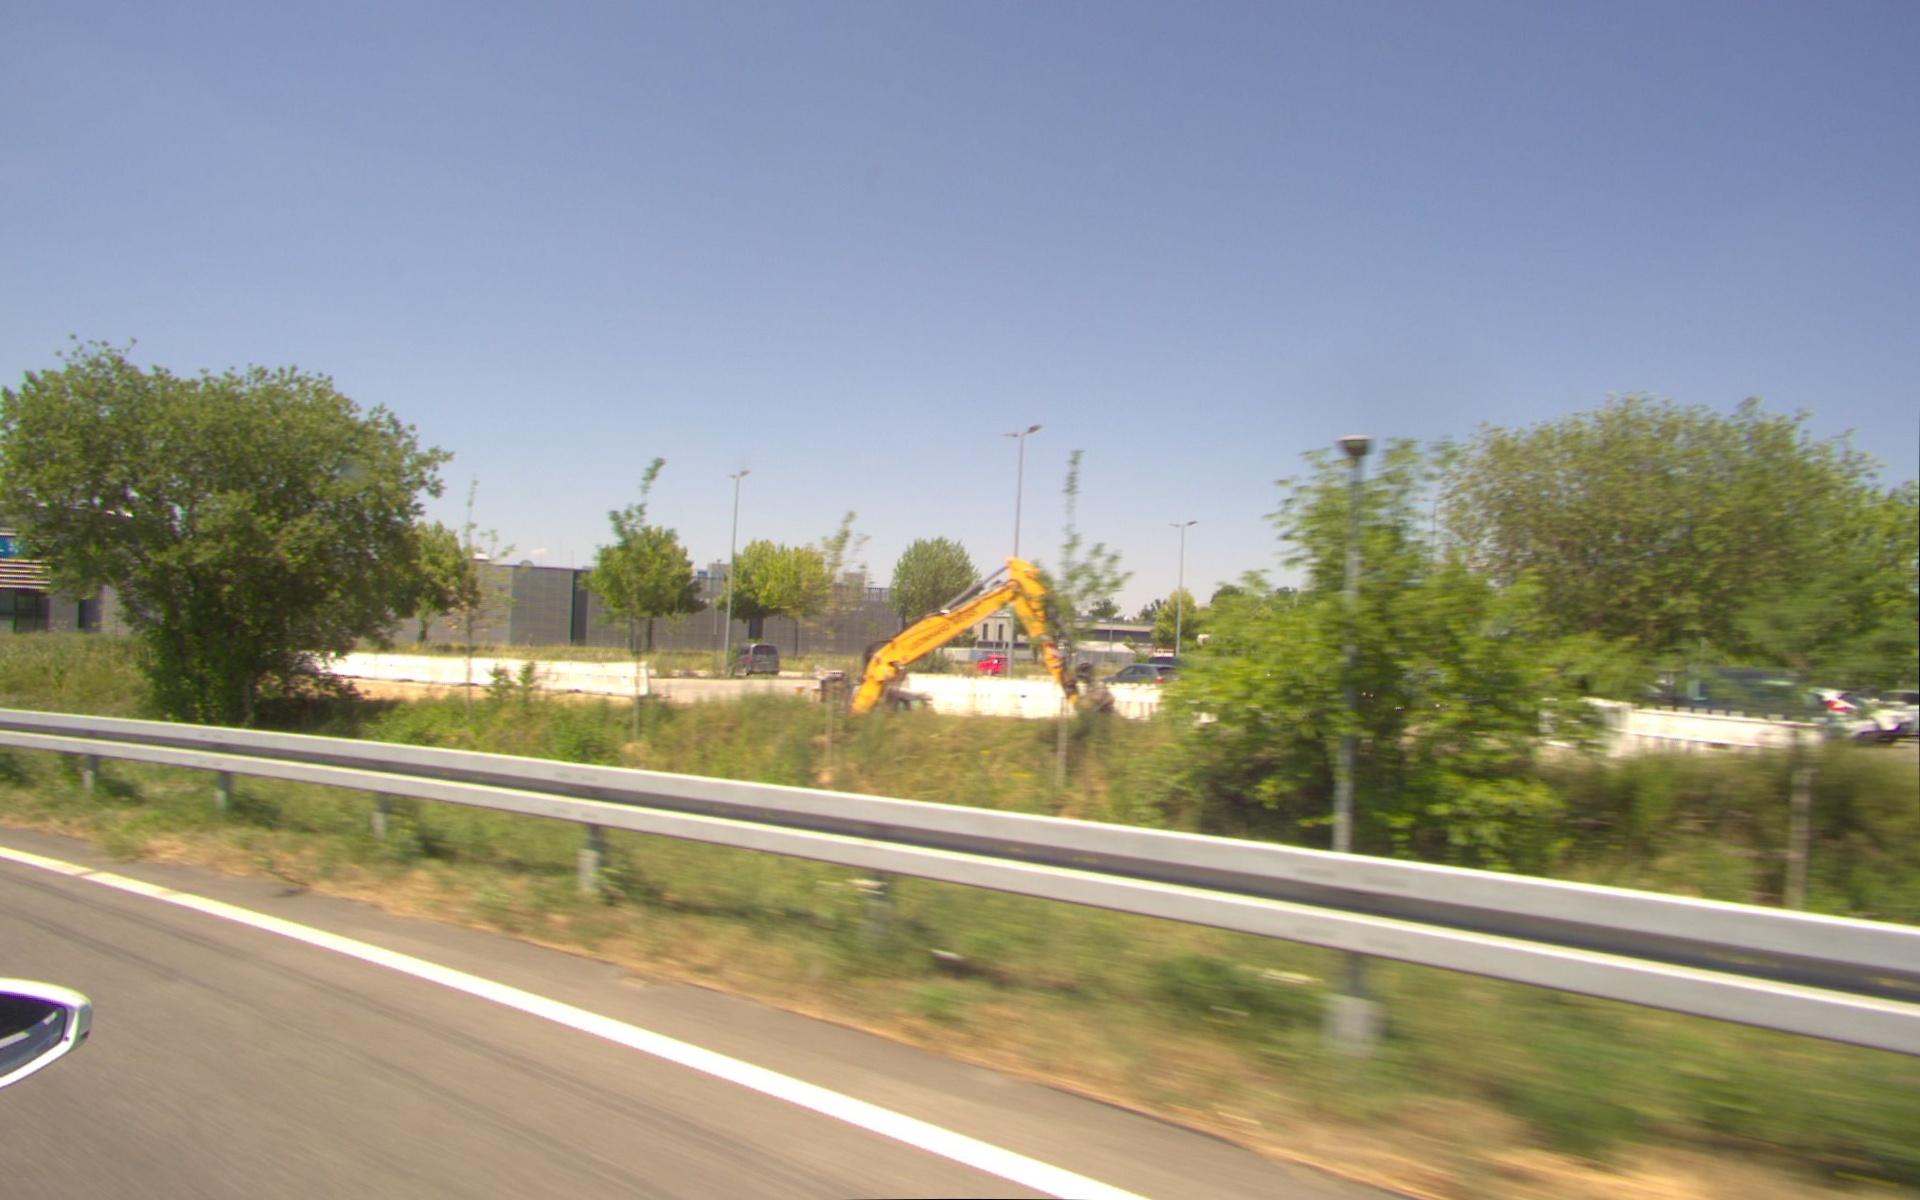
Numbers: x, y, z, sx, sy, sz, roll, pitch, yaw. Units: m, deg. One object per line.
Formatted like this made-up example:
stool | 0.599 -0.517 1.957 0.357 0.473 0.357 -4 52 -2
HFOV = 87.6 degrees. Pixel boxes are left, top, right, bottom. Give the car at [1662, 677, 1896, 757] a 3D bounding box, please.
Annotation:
car | 20.081 2.803 24.747 1.919 1.588 4.070 2 -2 -28

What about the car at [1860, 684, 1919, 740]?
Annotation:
car | 29.876 3.410 29.733 1.918 1.564 4.326 1 -2 -26

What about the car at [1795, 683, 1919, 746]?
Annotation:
car | 27.023 3.282 28.718 1.918 1.576 4.326 1 -2 -26

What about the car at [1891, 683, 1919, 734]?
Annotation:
car | 32.217 3.483 31.197 1.918 1.576 4.326 1 -2 -26

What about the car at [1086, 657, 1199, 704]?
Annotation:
car | 6.914 3.025 38.427 1.969 1.527 4.595 1 -1 -26

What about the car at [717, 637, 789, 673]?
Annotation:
car | -11.231 2.956 54.036 2.075 1.838 5.313 2 -3 -33

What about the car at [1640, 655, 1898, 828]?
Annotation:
car | 11.360 1.851 14.441 2.031 1.937 4.432 3 -2 28

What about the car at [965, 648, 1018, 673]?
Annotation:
car | 2.276 4.398 73.223 2.069 1.706 4.526 2 -3 -24

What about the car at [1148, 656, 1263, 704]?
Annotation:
car | 9.613 3.092 39.591 1.983 1.657 4.573 1 -2 -25

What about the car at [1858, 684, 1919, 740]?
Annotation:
car | 29.843 3.396 29.747 1.918 1.576 4.326 1 -2 -26

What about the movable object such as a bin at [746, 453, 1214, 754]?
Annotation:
movable object such as a bin | 0.331 -0.031 21.206 9.076 5.328 3.426 3 -1 26
